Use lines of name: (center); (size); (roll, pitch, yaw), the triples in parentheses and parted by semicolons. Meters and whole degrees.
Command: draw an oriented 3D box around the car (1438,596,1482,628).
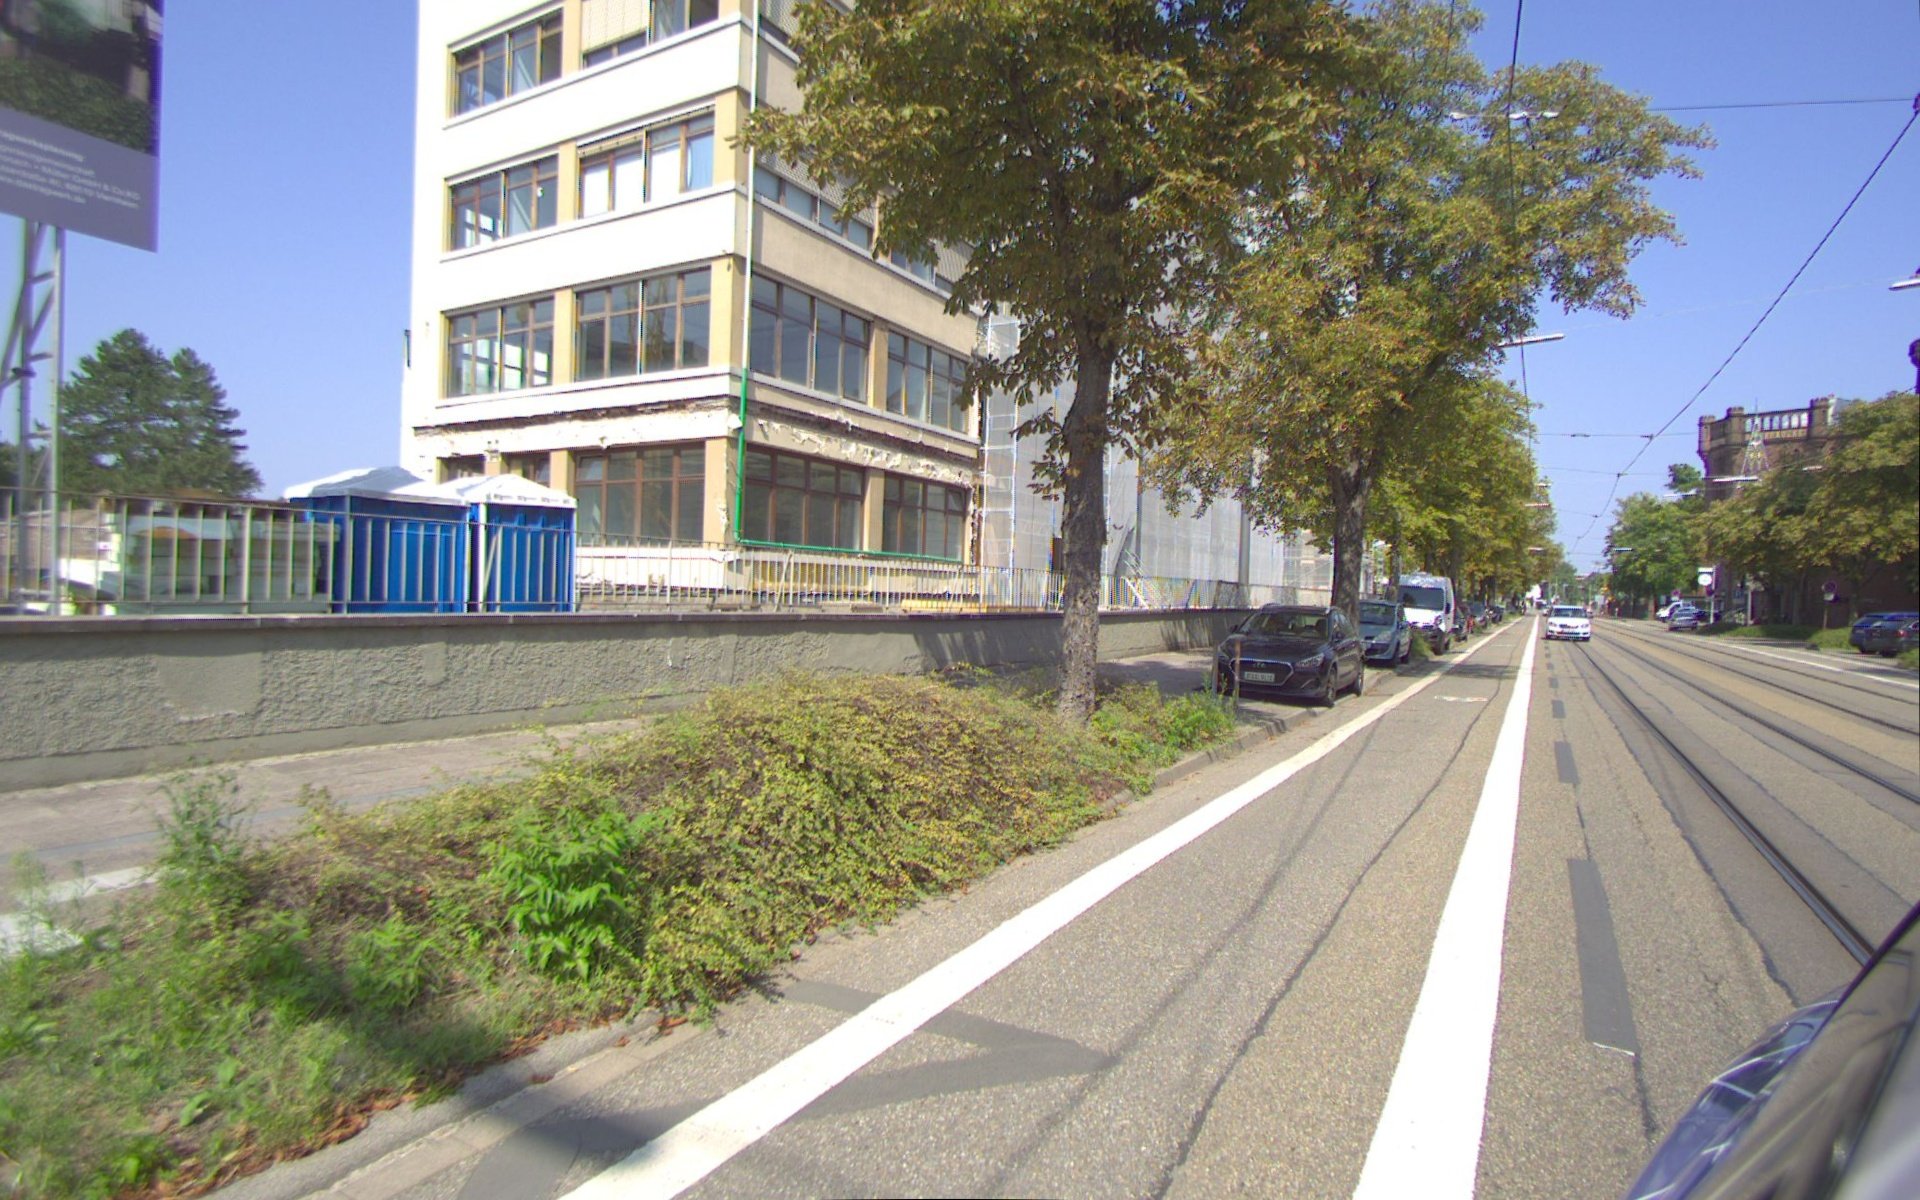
car: (25.383, 0.576, 51.331); (1.677, 1.519, 4.088); (2, 1, 30)

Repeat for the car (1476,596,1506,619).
car: (40.147, 0.598, 76.503); (1.634, 1.589, 4.036); (4, 1, 32)

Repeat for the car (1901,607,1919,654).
car: (33.225, 1.060, 32.442); (4.221, 1.516, 1.778); (1, 0, 6)

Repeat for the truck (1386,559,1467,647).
truck: (15.358, 0.055, 33.137); (1.907, 2.631, 5.534); (2, 1, 29)

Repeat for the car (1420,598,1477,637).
car: (20.296, 0.676, 41.963); (1.677, 1.458, 4.750); (2, 1, 31)

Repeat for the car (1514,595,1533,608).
car: (71.297, 0.198, 128.005); (1.985, 1.549, 3.955); (2, 1, 31)

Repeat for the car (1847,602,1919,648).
car: (36.088, 0.950, 37.858); (3.933, 1.669, 1.837); (1, 0, 9)

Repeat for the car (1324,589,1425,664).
car: (10.415, 0.574, 25.259); (1.666, 1.599, 4.126); (4, 3, 31)

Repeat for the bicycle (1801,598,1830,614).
bicycle: (60.083, 0.425, 71.085); (1.431, 1.076, 0.375); (-4, -2, 22)

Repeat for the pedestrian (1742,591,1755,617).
pedestrian: (60.709, 0.322, 77.932); (0.508, 2.005, 0.506); (1, 1, -15)

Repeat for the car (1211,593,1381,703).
car: (5.633, 0.666, 16.580); (1.666, 1.476, 4.612); (3, 2, 31)

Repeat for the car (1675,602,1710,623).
car: (57.149, 0.926, 79.037); (1.928, 1.521, 4.460); (2, 1, 33)

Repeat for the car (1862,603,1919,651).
car: (34.324, 0.967, 35.298); (3.929, 1.589, 1.778); (1, 0, 5)

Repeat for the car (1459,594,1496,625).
car: (30.712, 0.535, 59.974); (1.753, 1.709, 4.600); (2, 1, 30)

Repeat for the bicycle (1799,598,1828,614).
bicycle: (60.193, 0.423, 71.381); (1.431, 1.076, 0.375); (-4, -2, 22)

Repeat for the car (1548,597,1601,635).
car: (26.629, 0.645, 43.913); (1.811, 1.510, 3.975); (3, 2, 31)

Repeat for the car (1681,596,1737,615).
car: (77.201, 0.591, 104.400); (4.379, 1.821, 1.976); (-3, -2, 34)

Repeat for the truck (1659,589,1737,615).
truck: (79.766, 0.230, 109.548); (6.463, 2.557, 2.291); (-3, -2, 32)
